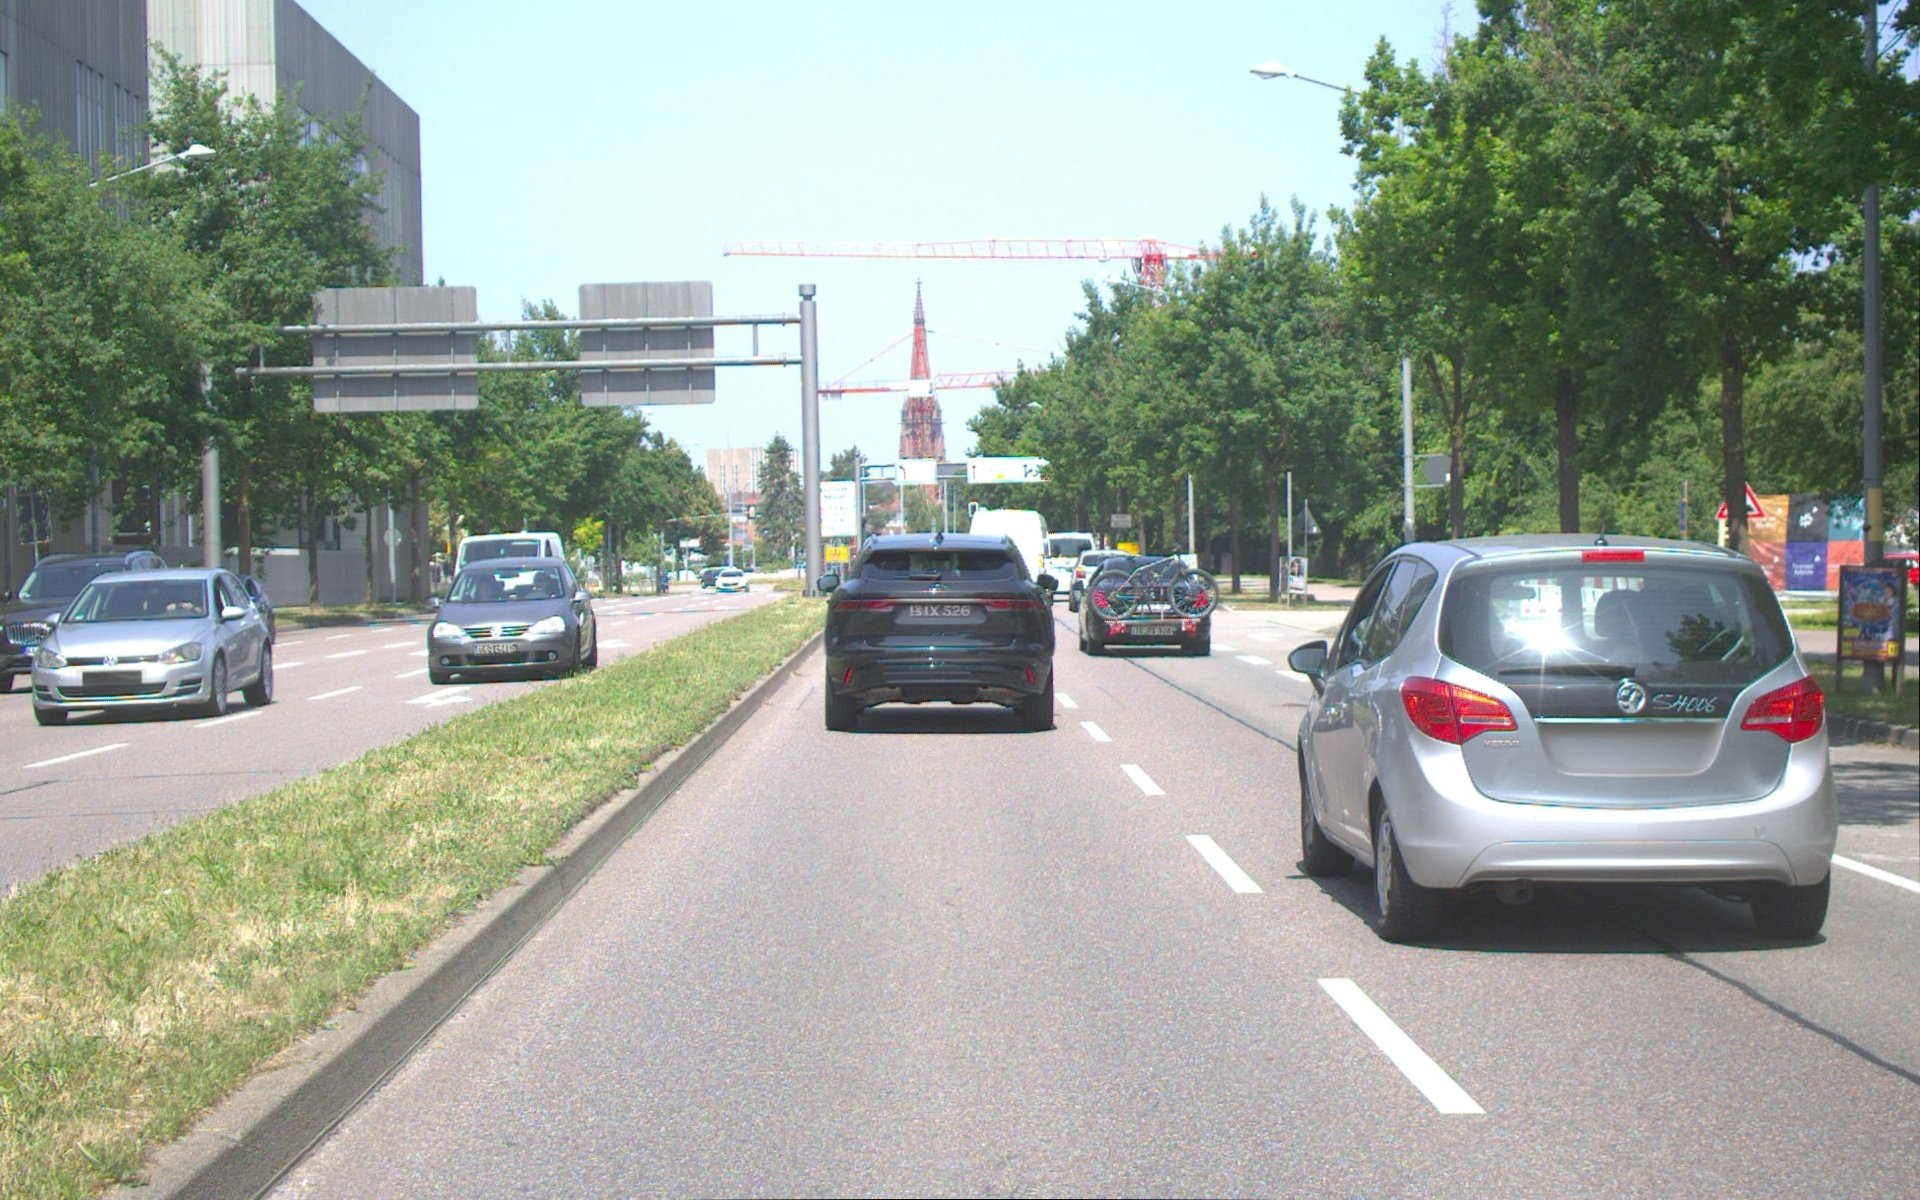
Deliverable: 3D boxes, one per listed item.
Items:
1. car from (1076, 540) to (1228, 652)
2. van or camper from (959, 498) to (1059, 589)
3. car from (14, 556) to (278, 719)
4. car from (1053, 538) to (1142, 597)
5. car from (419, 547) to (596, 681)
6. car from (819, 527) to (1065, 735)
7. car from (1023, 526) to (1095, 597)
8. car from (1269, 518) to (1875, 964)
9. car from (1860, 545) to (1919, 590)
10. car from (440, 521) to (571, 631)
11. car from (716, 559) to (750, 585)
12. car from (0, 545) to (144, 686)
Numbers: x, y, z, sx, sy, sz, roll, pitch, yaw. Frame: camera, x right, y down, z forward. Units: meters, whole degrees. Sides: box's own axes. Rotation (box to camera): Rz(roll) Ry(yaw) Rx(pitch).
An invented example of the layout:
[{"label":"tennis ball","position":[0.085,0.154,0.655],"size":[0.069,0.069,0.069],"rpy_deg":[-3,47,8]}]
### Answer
[{"label":"car","position":[2.728,-0.074,49.726],"size":[2.014,1.512,4.460],"rpy_deg":[-1,0,1]},{"label":"van or camper","position":[1.294,-1.466,90.403],"size":[2.493,2.283,4.921],"rpy_deg":[-1,0,1]},{"label":"car","position":[-8.091,0.328,34.515],"size":[1.765,1.455,4.145],"rpy_deg":[-2,1,-2]},{"label":"car","position":[3.346,-0.790,84.327],"size":[1.654,1.351,4.461],"rpy_deg":[-1,0,-4]},{"label":"car","position":[-5.408,0.136,41.468],"size":[1.810,1.461,4.058],"rpy_deg":[-2,1,-4]},{"label":"car","position":[-0.116,0.222,29.915],"size":[1.998,1.684,4.033],"rpy_deg":[0,1,1]},{"label":"car","position":[2.871,-1.130,100.458],"size":[1.993,2.007,4.000],"rpy_deg":[-1,1,0]},{"label":"car","position":[2.423,0.485,14.569],"size":[1.792,1.606,3.891],"rpy_deg":[-1,1,-1]},{"label":"car","position":[25.428,-0.899,93.426],"size":[1.380,1.183,3.302],"rpy_deg":[-1,1,6]},{"label":"car","position":[-8.805,-0.494,66.914],"size":[1.909,1.986,4.898],"rpy_deg":[-2,1,-1]},{"label":"car","position":[-13.190,-1.646,200.026],"size":[1.810,1.422,4.359],"rpy_deg":[-2,1,-2]},{"label":"car","position":[-12.211,0.179,45.508],"size":[1.810,1.741,4.647],"rpy_deg":[-2,1,-2]}]
